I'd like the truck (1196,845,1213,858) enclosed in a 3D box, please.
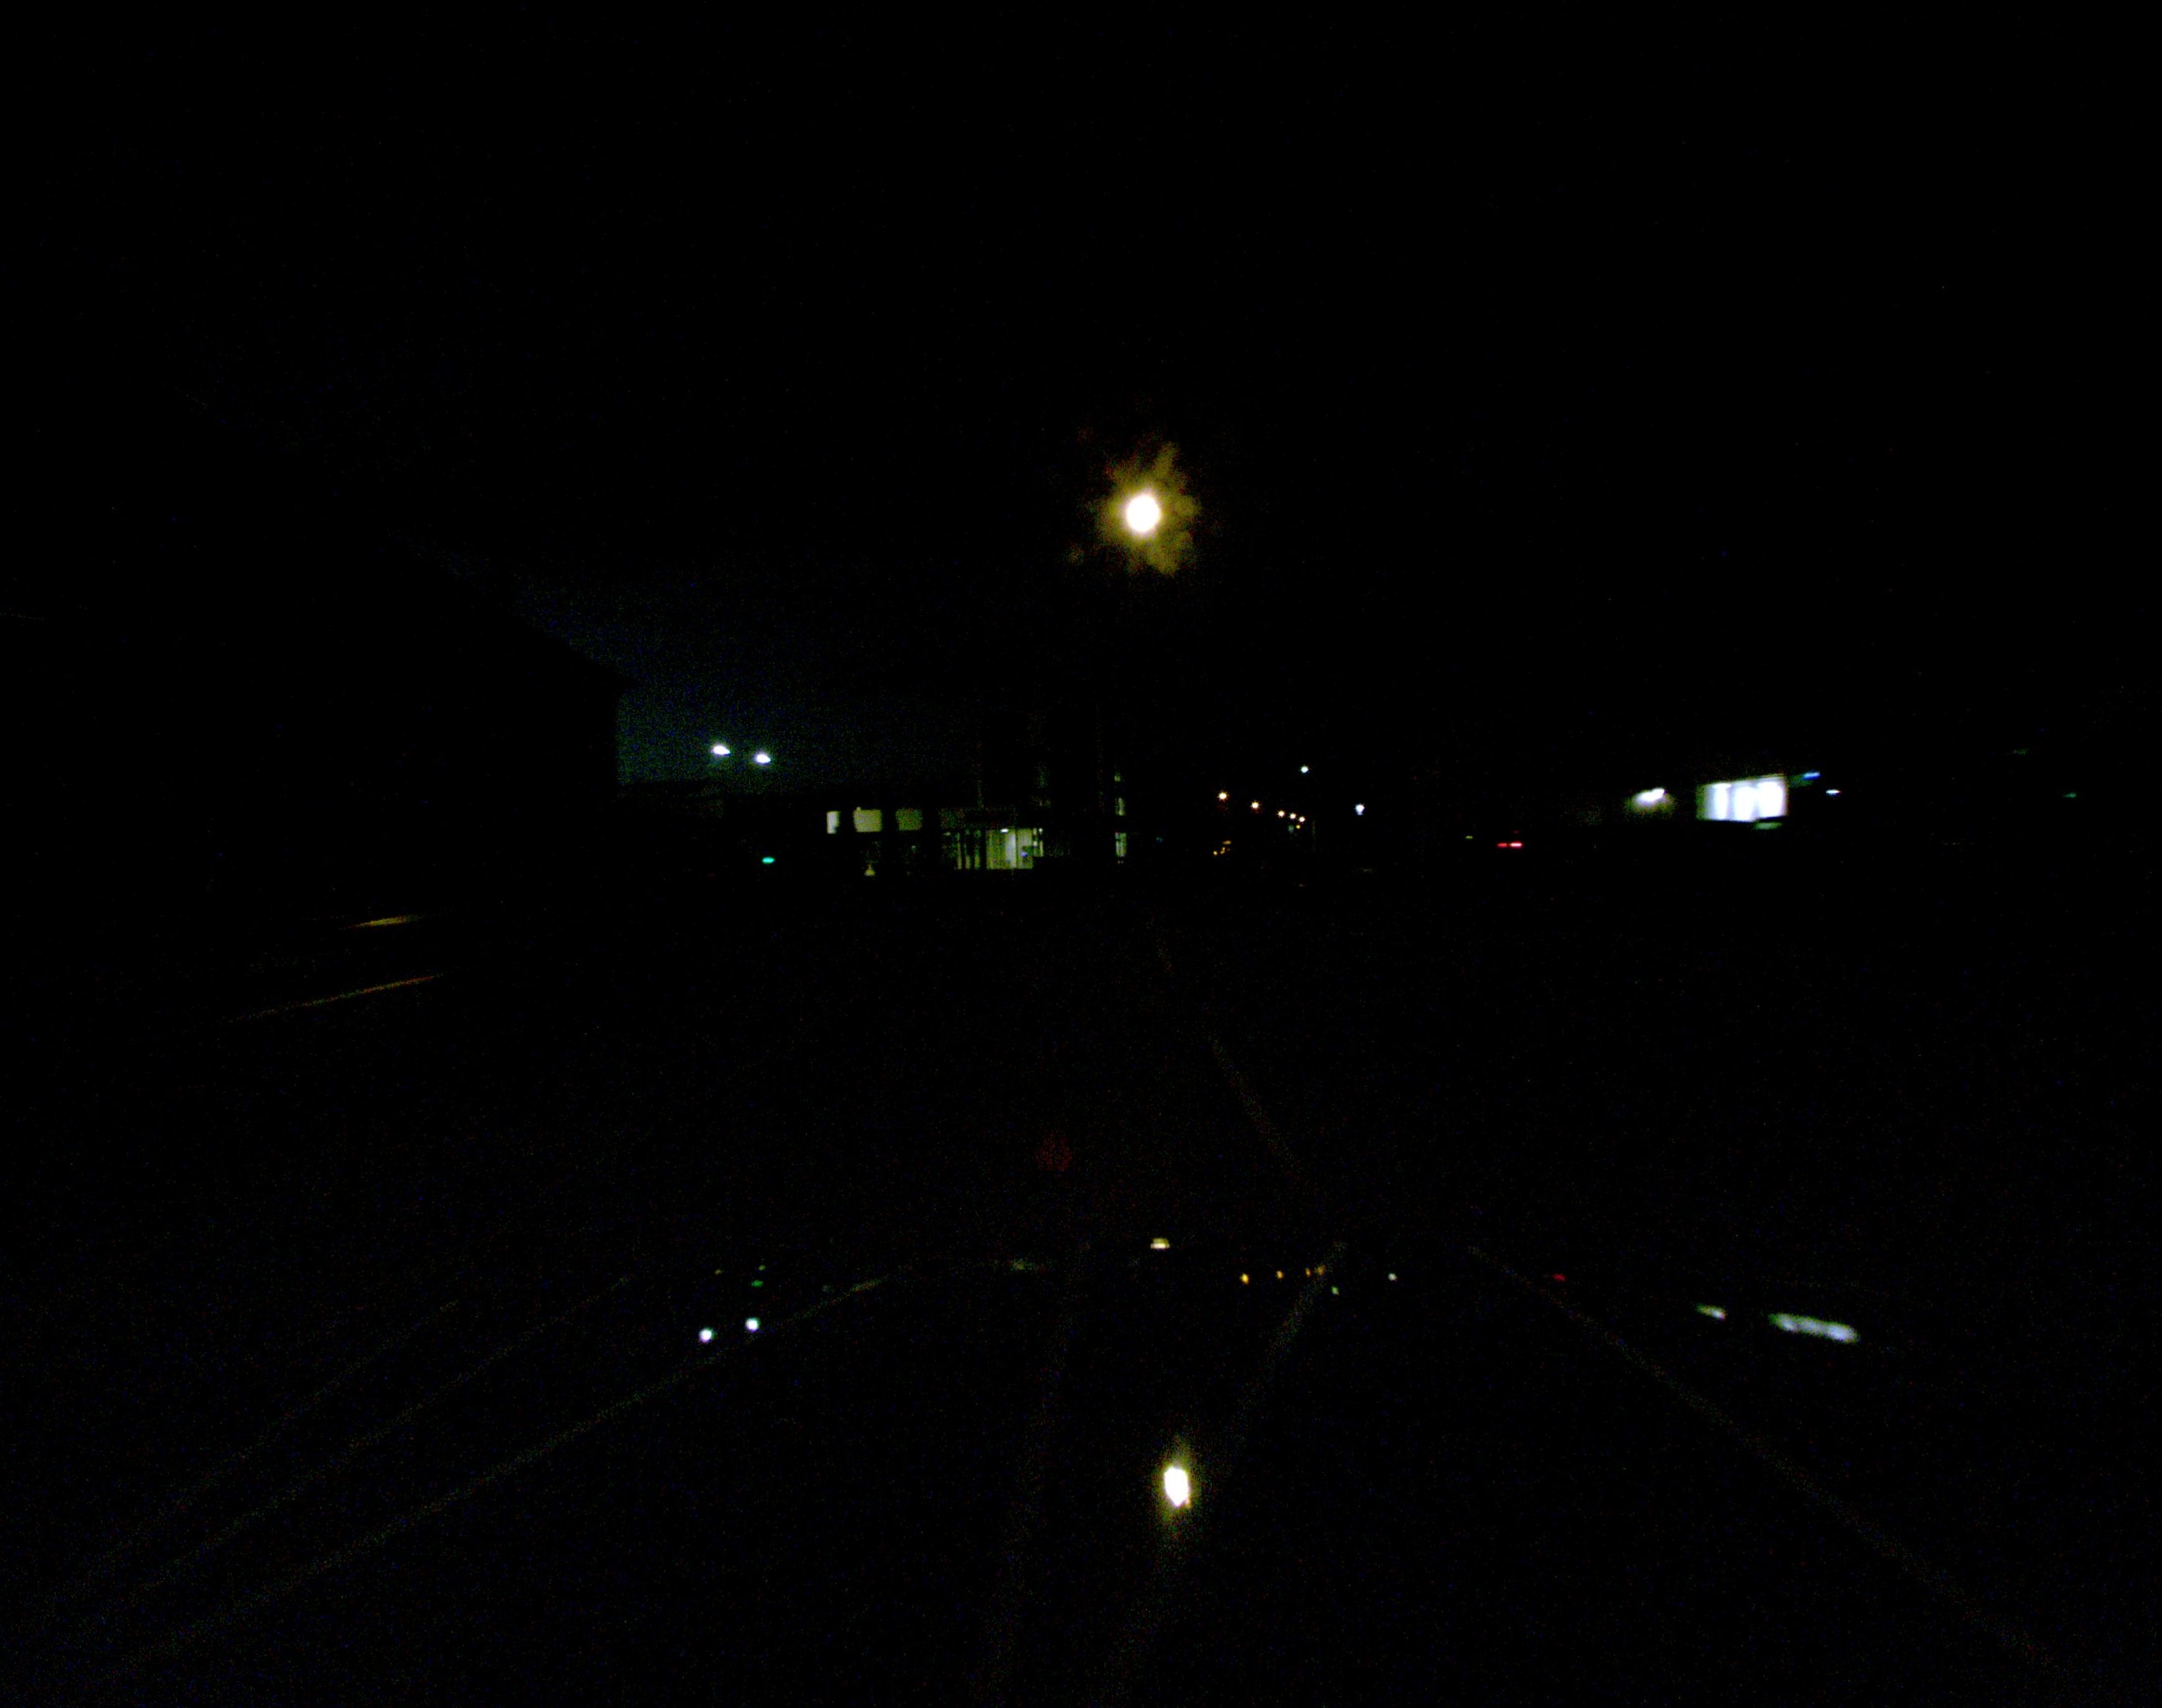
[{"bbox_3d":[15.945,-0.363,97.811,1.371,1.635,3.817,-2,1,20],"label":"truck"}]

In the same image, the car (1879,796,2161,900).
[{"bbox_3d":[16.102,-0.139,12.197,4.414,1.470,1.851,-2,1,4],"label":"car"}]

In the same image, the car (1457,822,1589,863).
[{"bbox_3d":[18.567,-0.478,32.103,4.414,1.474,1.893,-2,1,4],"label":"car"}]

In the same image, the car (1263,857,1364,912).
[{"bbox_3d":[6.563,0.800,21.930,1.818,1.363,4.361,0,1,4],"label":"car"}]

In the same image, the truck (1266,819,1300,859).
[{"bbox_3d":[21.987,-1.622,82.380,2.749,4.010,9.572,-2,1,19],"label":"truck"}]

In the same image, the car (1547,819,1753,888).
[{"bbox_3d":[16.406,-0.017,22.099,4.414,1.805,1.963,-2,1,4],"label":"car"}]

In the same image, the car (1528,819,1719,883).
[{"bbox_3d":[17.341,-0.086,24.487,4.617,1.805,1.963,-2,1,4],"label":"car"}]

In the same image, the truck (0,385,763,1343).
[{"bbox_3d":[-5.603,0.032,5.263,2.762,3.761,9.136,-2,1,1],"label":"truck"}]

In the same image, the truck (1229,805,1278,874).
[{"bbox_3d":[11.557,-0.943,50.517,2.776,4.096,9.350,-2,1,14],"label":"truck"}]

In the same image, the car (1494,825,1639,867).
[{"bbox_3d":[18.885,-0.309,29.717,4.414,1.444,1.828,-2,1,4],"label":"car"}]

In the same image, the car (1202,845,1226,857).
[{"bbox_3d":[17.850,-0.368,101.991,1.948,1.480,5.018,-2,0,24],"label":"car"}]

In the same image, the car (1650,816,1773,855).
[{"bbox_3d":[27.021,-0.768,32.789,1.906,1.449,4.466,-3,0,6],"label":"car"}]

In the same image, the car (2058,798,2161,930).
[{"bbox_3d":[15.880,0.040,9.582,4.414,1.671,1.963,-2,1,3],"label":"car"}]

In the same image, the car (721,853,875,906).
[{"bbox_3d":[-9.241,0.820,25.067,4.337,1.637,1.892,1,0,-1],"label":"car"}]

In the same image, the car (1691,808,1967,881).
[{"bbox_3d":[16.774,-0.207,17.230,4.275,1.386,1.828,-2,1,4],"label":"car"}]

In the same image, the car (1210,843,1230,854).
[{"bbox_3d":[19.802,-0.800,108.352,1.771,1.404,4.557,-2,0,24],"label":"car"}]

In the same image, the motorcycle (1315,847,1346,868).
[{"bbox_3d":[14.919,0.192,45.397,1.693,1.095,0.530,-5,2,-17],"label":"motorcycle"}]

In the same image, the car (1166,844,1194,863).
[{"bbox_3d":[10.987,-0.100,84.113,1.995,2.002,4.918,-1,1,21],"label":"car"}]

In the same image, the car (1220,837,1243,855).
[{"bbox_3d":[22.753,-1.178,114.402,1.996,2.510,5.918,-5,-1,24],"label":"car"}]

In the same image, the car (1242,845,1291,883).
[{"bbox_3d":[8.562,0.419,35.367,1.869,1.583,4.497,-2,0,10],"label":"car"}]
